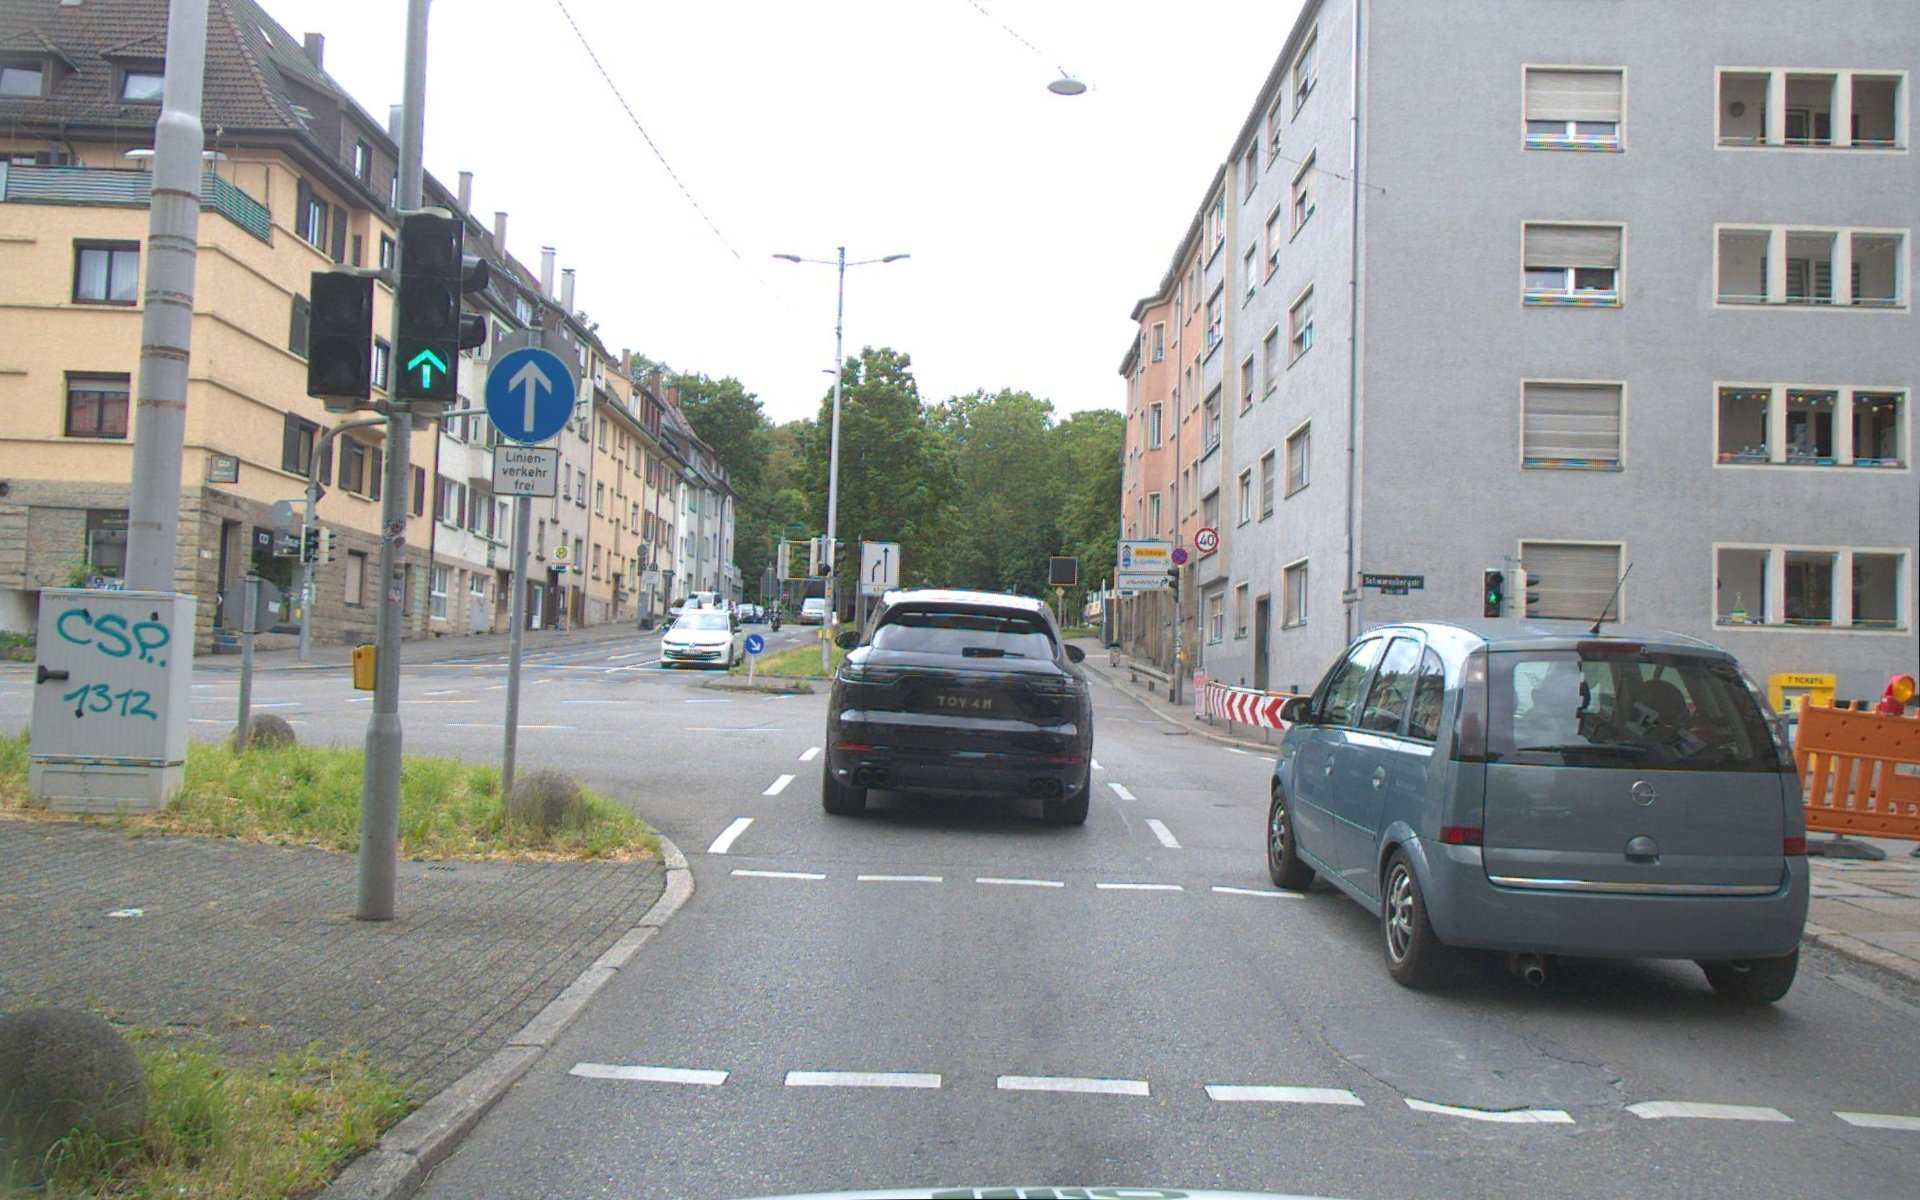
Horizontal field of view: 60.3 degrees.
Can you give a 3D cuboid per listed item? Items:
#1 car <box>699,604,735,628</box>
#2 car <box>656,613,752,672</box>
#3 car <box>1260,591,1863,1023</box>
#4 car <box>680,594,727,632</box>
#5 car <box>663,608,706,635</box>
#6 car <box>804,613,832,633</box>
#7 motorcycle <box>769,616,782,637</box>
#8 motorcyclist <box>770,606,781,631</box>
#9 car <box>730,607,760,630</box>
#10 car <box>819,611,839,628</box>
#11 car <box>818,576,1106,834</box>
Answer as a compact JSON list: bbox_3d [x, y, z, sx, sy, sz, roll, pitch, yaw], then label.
[{"bbox_3d":[-14.995,0.978,102.177,1.703,1.411,3.813,1,0,-1],"label":"car"},{"bbox_3d":[-6.522,1.048,42.488,1.824,1.412,4.094,1,0,-1],"label":"car"},{"bbox_3d":[2.686,0.823,8.290,1.595,1.626,3.668,2,-1,-1],"label":"car"},{"bbox_3d":[-14.941,0.753,96.615,1.975,2.081,4.666,1,0,-1],"label":"car"},{"bbox_3d":[-15.065,1.186,90.638,1.703,1.411,3.813,1,0,-1],"label":"car"},{"bbox_3d":[-9.488,1.494,110.544,1.519,1.279,3.662,1,0,0],"label":"car"},{"bbox_3d":[-9.531,1.371,85.288,0.501,1.058,1.389,1,-1,0],"label":"motorcycle"},{"bbox_3d":[-9.523,0.948,85.366,0.501,1.247,0.467,1,-1,-1],"label":"motorcyclist"},{"bbox_3d":[-15.140,1.308,116.667,1.655,1.565,3.813,1,0,-1],"label":"car"},{"bbox_3d":[-11.107,1.662,140.241,1.459,1.400,3.244,1,0,-1],"label":"car"},{"bbox_3d":[-0.016,0.726,13.155,1.916,1.704,3.999,1,0,-1],"label":"car"}]
